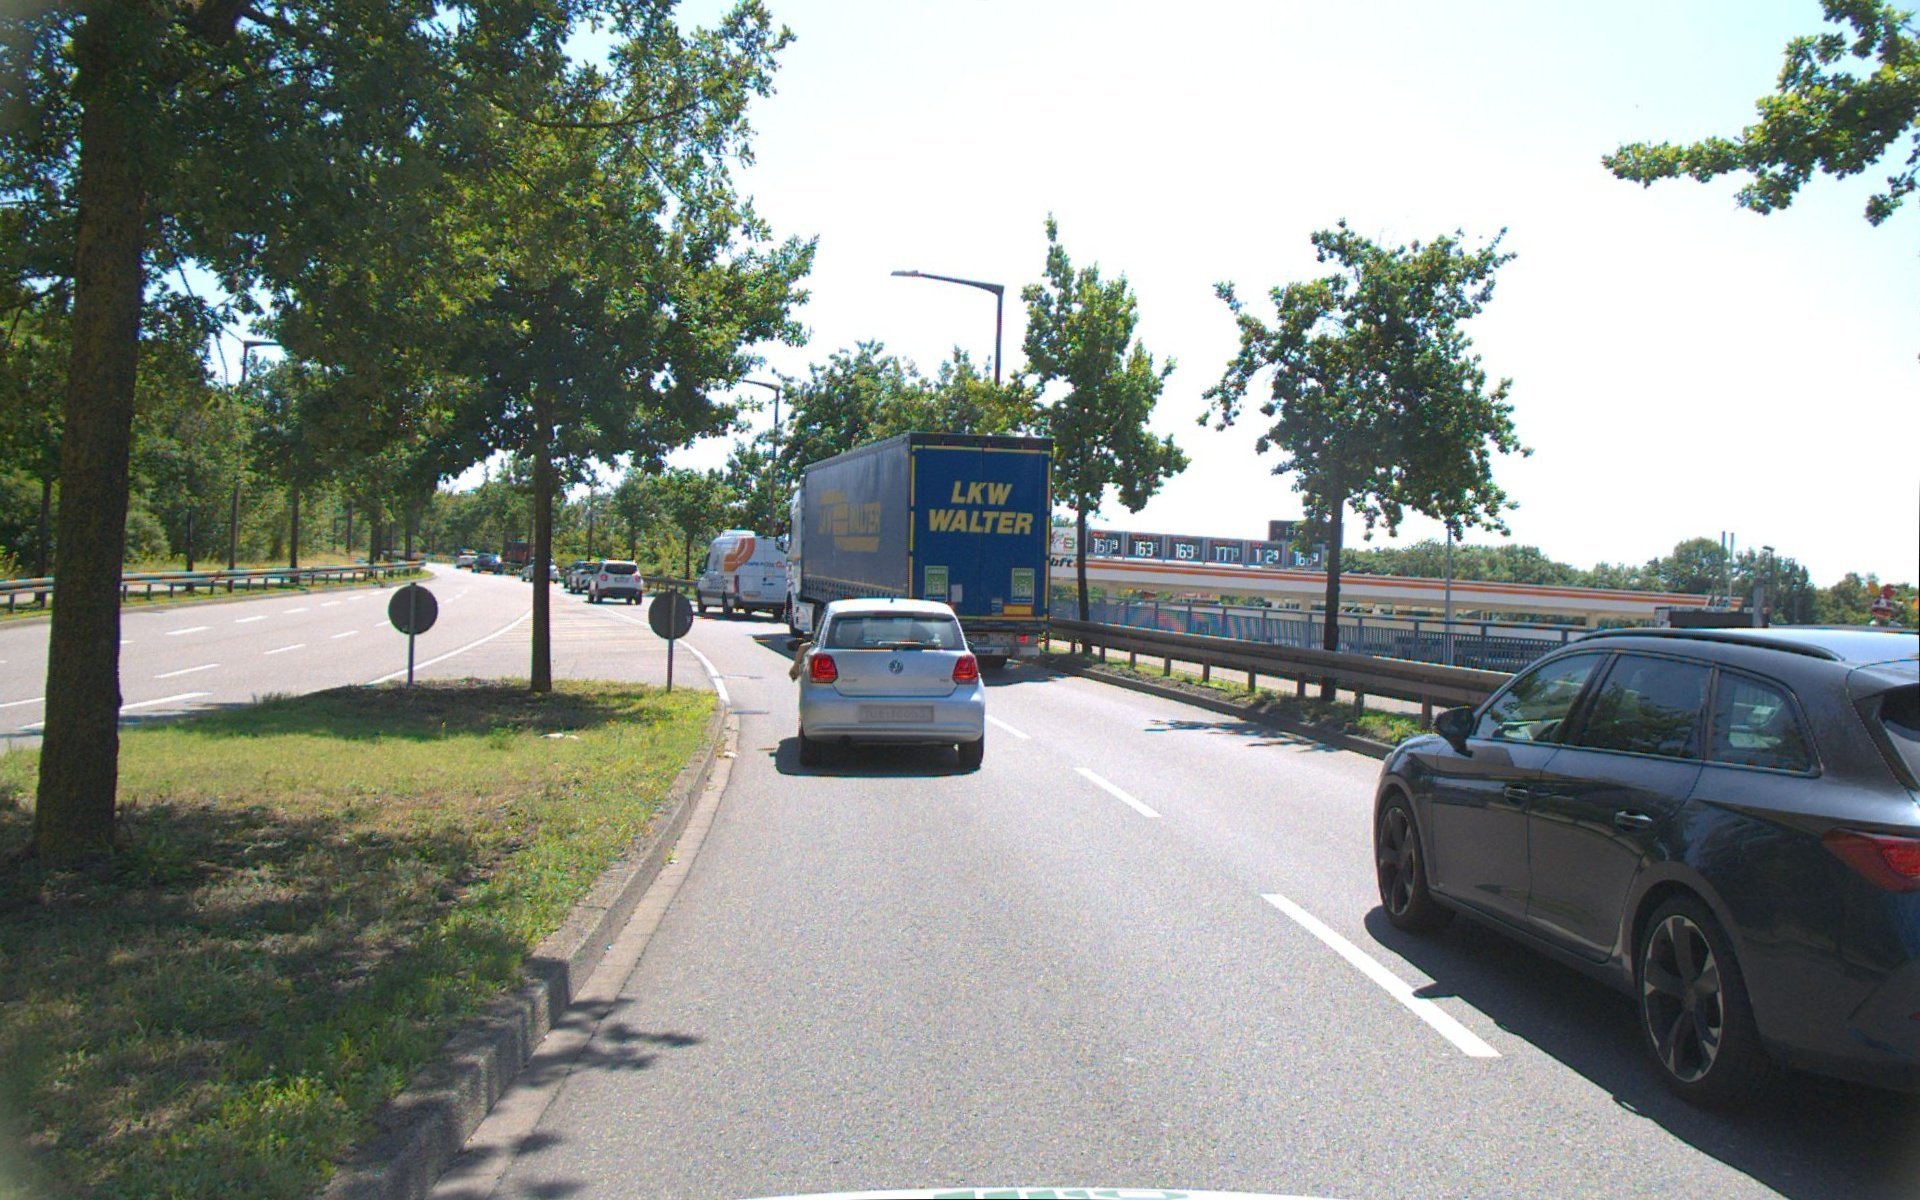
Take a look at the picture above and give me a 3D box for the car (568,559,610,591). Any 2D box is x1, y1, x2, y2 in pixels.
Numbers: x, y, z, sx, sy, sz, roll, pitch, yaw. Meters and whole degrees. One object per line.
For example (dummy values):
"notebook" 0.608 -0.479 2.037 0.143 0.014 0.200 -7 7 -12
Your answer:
"car" -17.383 -1.152 77.406 1.472 1.384 3.642 2 0 -19

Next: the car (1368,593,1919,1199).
"car" 2.987 0.776 6.217 1.573 1.481 4.231 2 -1 -4

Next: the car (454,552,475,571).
"car" -39.645 -3.075 132.386 1.433 1.337 3.622 2 -1 -15

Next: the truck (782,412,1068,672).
"truck" -1.424 -0.985 35.847 2.784 4.272 16.418 2 0 -13

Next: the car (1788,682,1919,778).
"car" 18.633 2.528 31.988 4.505 1.689 1.594 2 -1 -5

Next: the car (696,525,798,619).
"car" -7.329 -0.968 56.389 2.143 2.951 6.324 2 1 -19

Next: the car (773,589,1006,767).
"car" -0.777 0.680 15.639 1.617 1.464 3.526 2 -1 -12

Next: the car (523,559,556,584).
"car" -25.166 -1.689 98.970 1.584 1.384 3.642 2 0 -19

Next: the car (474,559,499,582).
"car" -33.771 -2.111 118.044 1.638 1.491 3.566 2 -1 -15

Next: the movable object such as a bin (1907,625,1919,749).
"movable object such as a bin" 34.661 2.825 50.481 10.852 3.772 3.027 2 -1 -13

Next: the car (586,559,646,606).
"car" -13.710 -0.672 65.855 1.874 1.748 4.202 2 -1 -18
